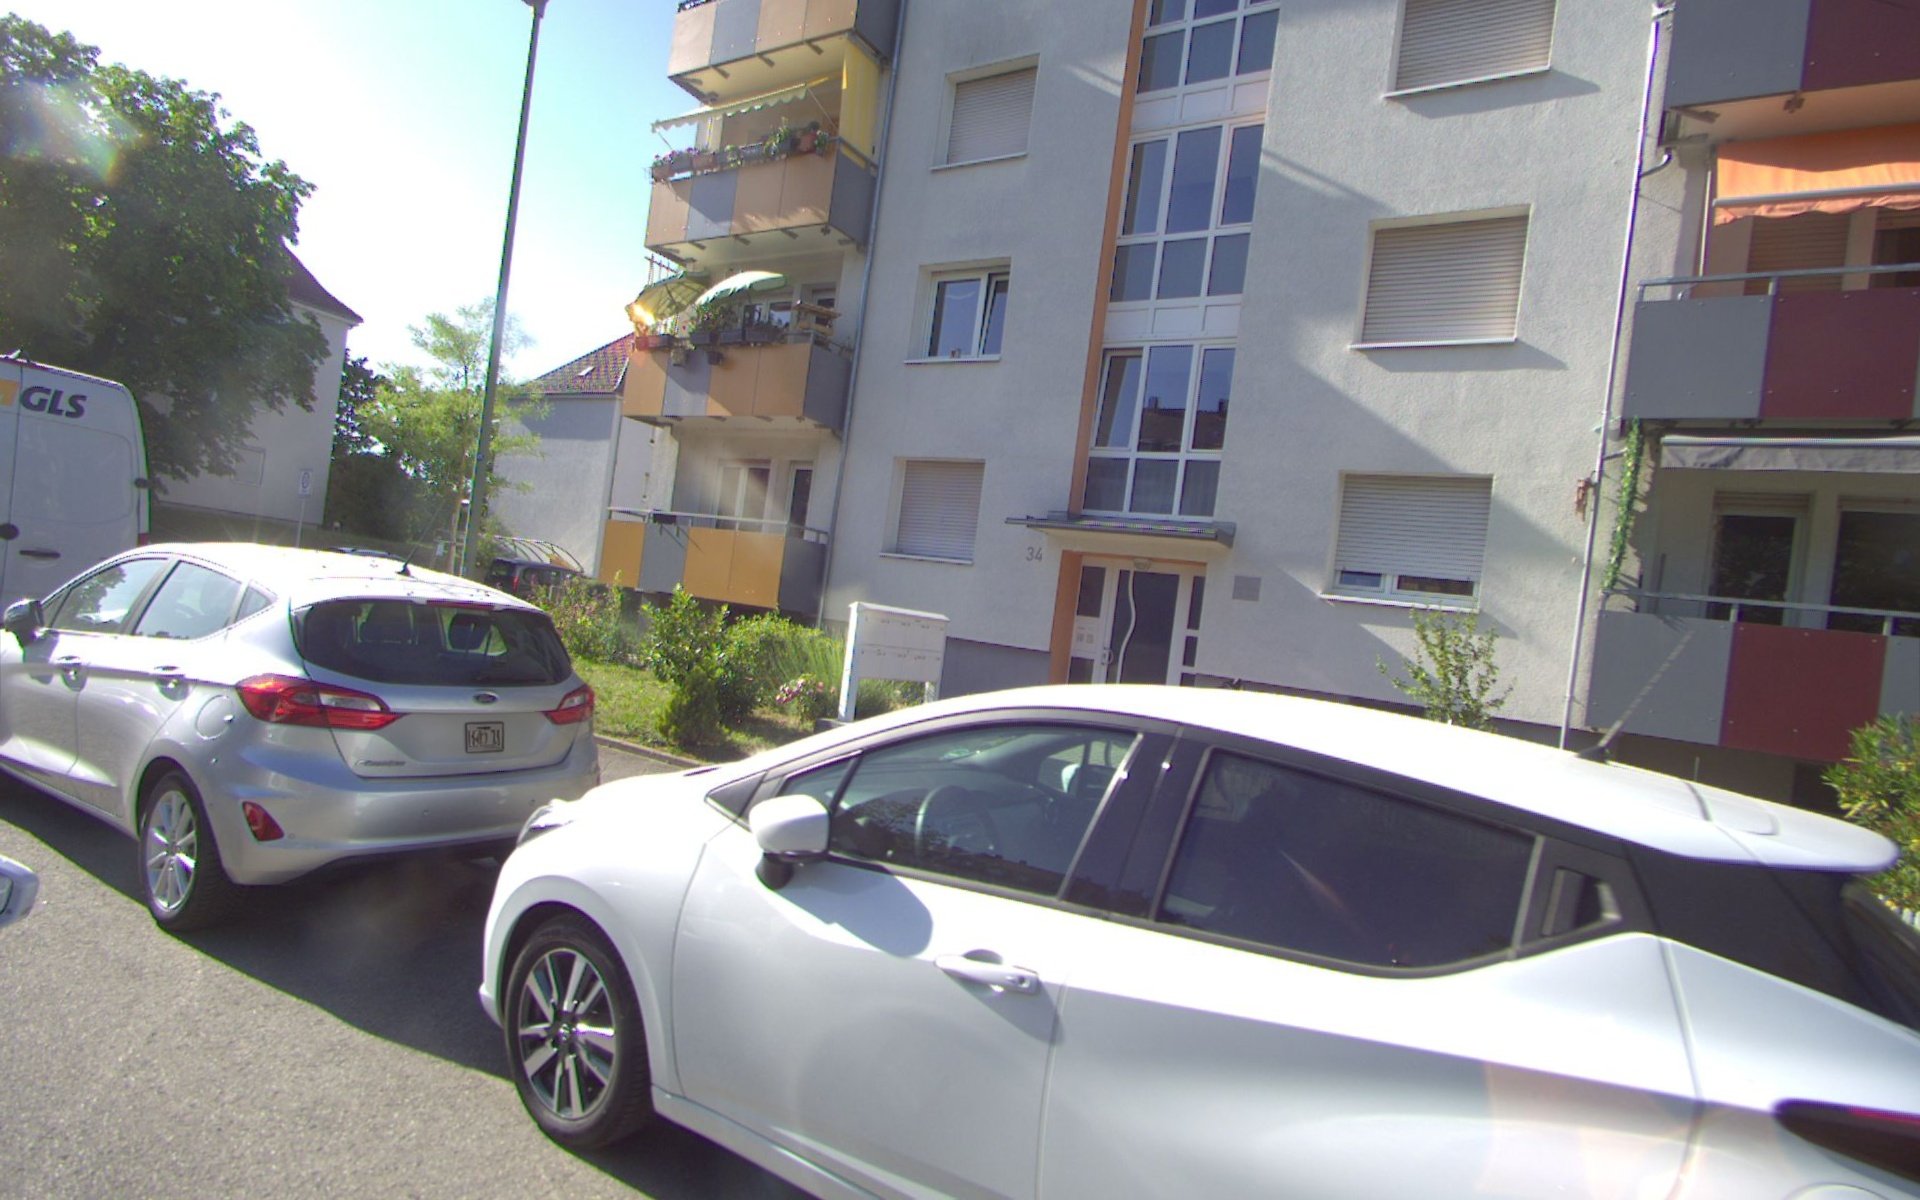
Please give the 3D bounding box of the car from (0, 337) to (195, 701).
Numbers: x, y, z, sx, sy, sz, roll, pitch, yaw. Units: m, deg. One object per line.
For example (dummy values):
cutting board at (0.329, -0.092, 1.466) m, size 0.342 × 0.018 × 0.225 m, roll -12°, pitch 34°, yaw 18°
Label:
car at (-9.996, -0.912, 9.573) m, size 6.731 × 2.747 × 2.143 m, roll 7°, pitch 1°, yaw 34°

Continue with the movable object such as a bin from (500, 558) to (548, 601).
movable object such as a bin at (-19.066, -0.911, 44.001) m, size 1.440 × 1.632 × 1.189 m, roll 7°, pitch -1°, yaw 32°

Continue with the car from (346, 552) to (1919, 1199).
car at (0.341, 0.872, 2.853) m, size 4.073 × 1.493 × 1.880 m, roll 7°, pitch -1°, yaw 33°

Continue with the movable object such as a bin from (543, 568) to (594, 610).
movable object such as a bin at (-16.553, -0.460, 42.539) m, size 1.472 × 1.496 × 1.263 m, roll 7°, pitch -1°, yaw 32°

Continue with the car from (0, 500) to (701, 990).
car at (-3.591, 0.443, 5.223) m, size 4.132 × 1.482 × 1.853 m, roll 7°, pitch -2°, yaw 31°

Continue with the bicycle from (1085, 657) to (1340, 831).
bicycle at (2.178, 1.206, 8.807) m, size 1.981 × 1.190 × 0.597 m, roll 5°, pitch -2°, yaw 32°

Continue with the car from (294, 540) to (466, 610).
car at (-16.534, -0.681, 28.871) m, size 1.630 × 1.446 × 3.896 m, roll 7°, pitch -1°, yaw 29°

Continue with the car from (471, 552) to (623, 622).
car at (-13.682, -0.394, 33.548) m, size 1.839 × 1.751 × 4.288 m, roll 7°, pitch -1°, yaw 32°
